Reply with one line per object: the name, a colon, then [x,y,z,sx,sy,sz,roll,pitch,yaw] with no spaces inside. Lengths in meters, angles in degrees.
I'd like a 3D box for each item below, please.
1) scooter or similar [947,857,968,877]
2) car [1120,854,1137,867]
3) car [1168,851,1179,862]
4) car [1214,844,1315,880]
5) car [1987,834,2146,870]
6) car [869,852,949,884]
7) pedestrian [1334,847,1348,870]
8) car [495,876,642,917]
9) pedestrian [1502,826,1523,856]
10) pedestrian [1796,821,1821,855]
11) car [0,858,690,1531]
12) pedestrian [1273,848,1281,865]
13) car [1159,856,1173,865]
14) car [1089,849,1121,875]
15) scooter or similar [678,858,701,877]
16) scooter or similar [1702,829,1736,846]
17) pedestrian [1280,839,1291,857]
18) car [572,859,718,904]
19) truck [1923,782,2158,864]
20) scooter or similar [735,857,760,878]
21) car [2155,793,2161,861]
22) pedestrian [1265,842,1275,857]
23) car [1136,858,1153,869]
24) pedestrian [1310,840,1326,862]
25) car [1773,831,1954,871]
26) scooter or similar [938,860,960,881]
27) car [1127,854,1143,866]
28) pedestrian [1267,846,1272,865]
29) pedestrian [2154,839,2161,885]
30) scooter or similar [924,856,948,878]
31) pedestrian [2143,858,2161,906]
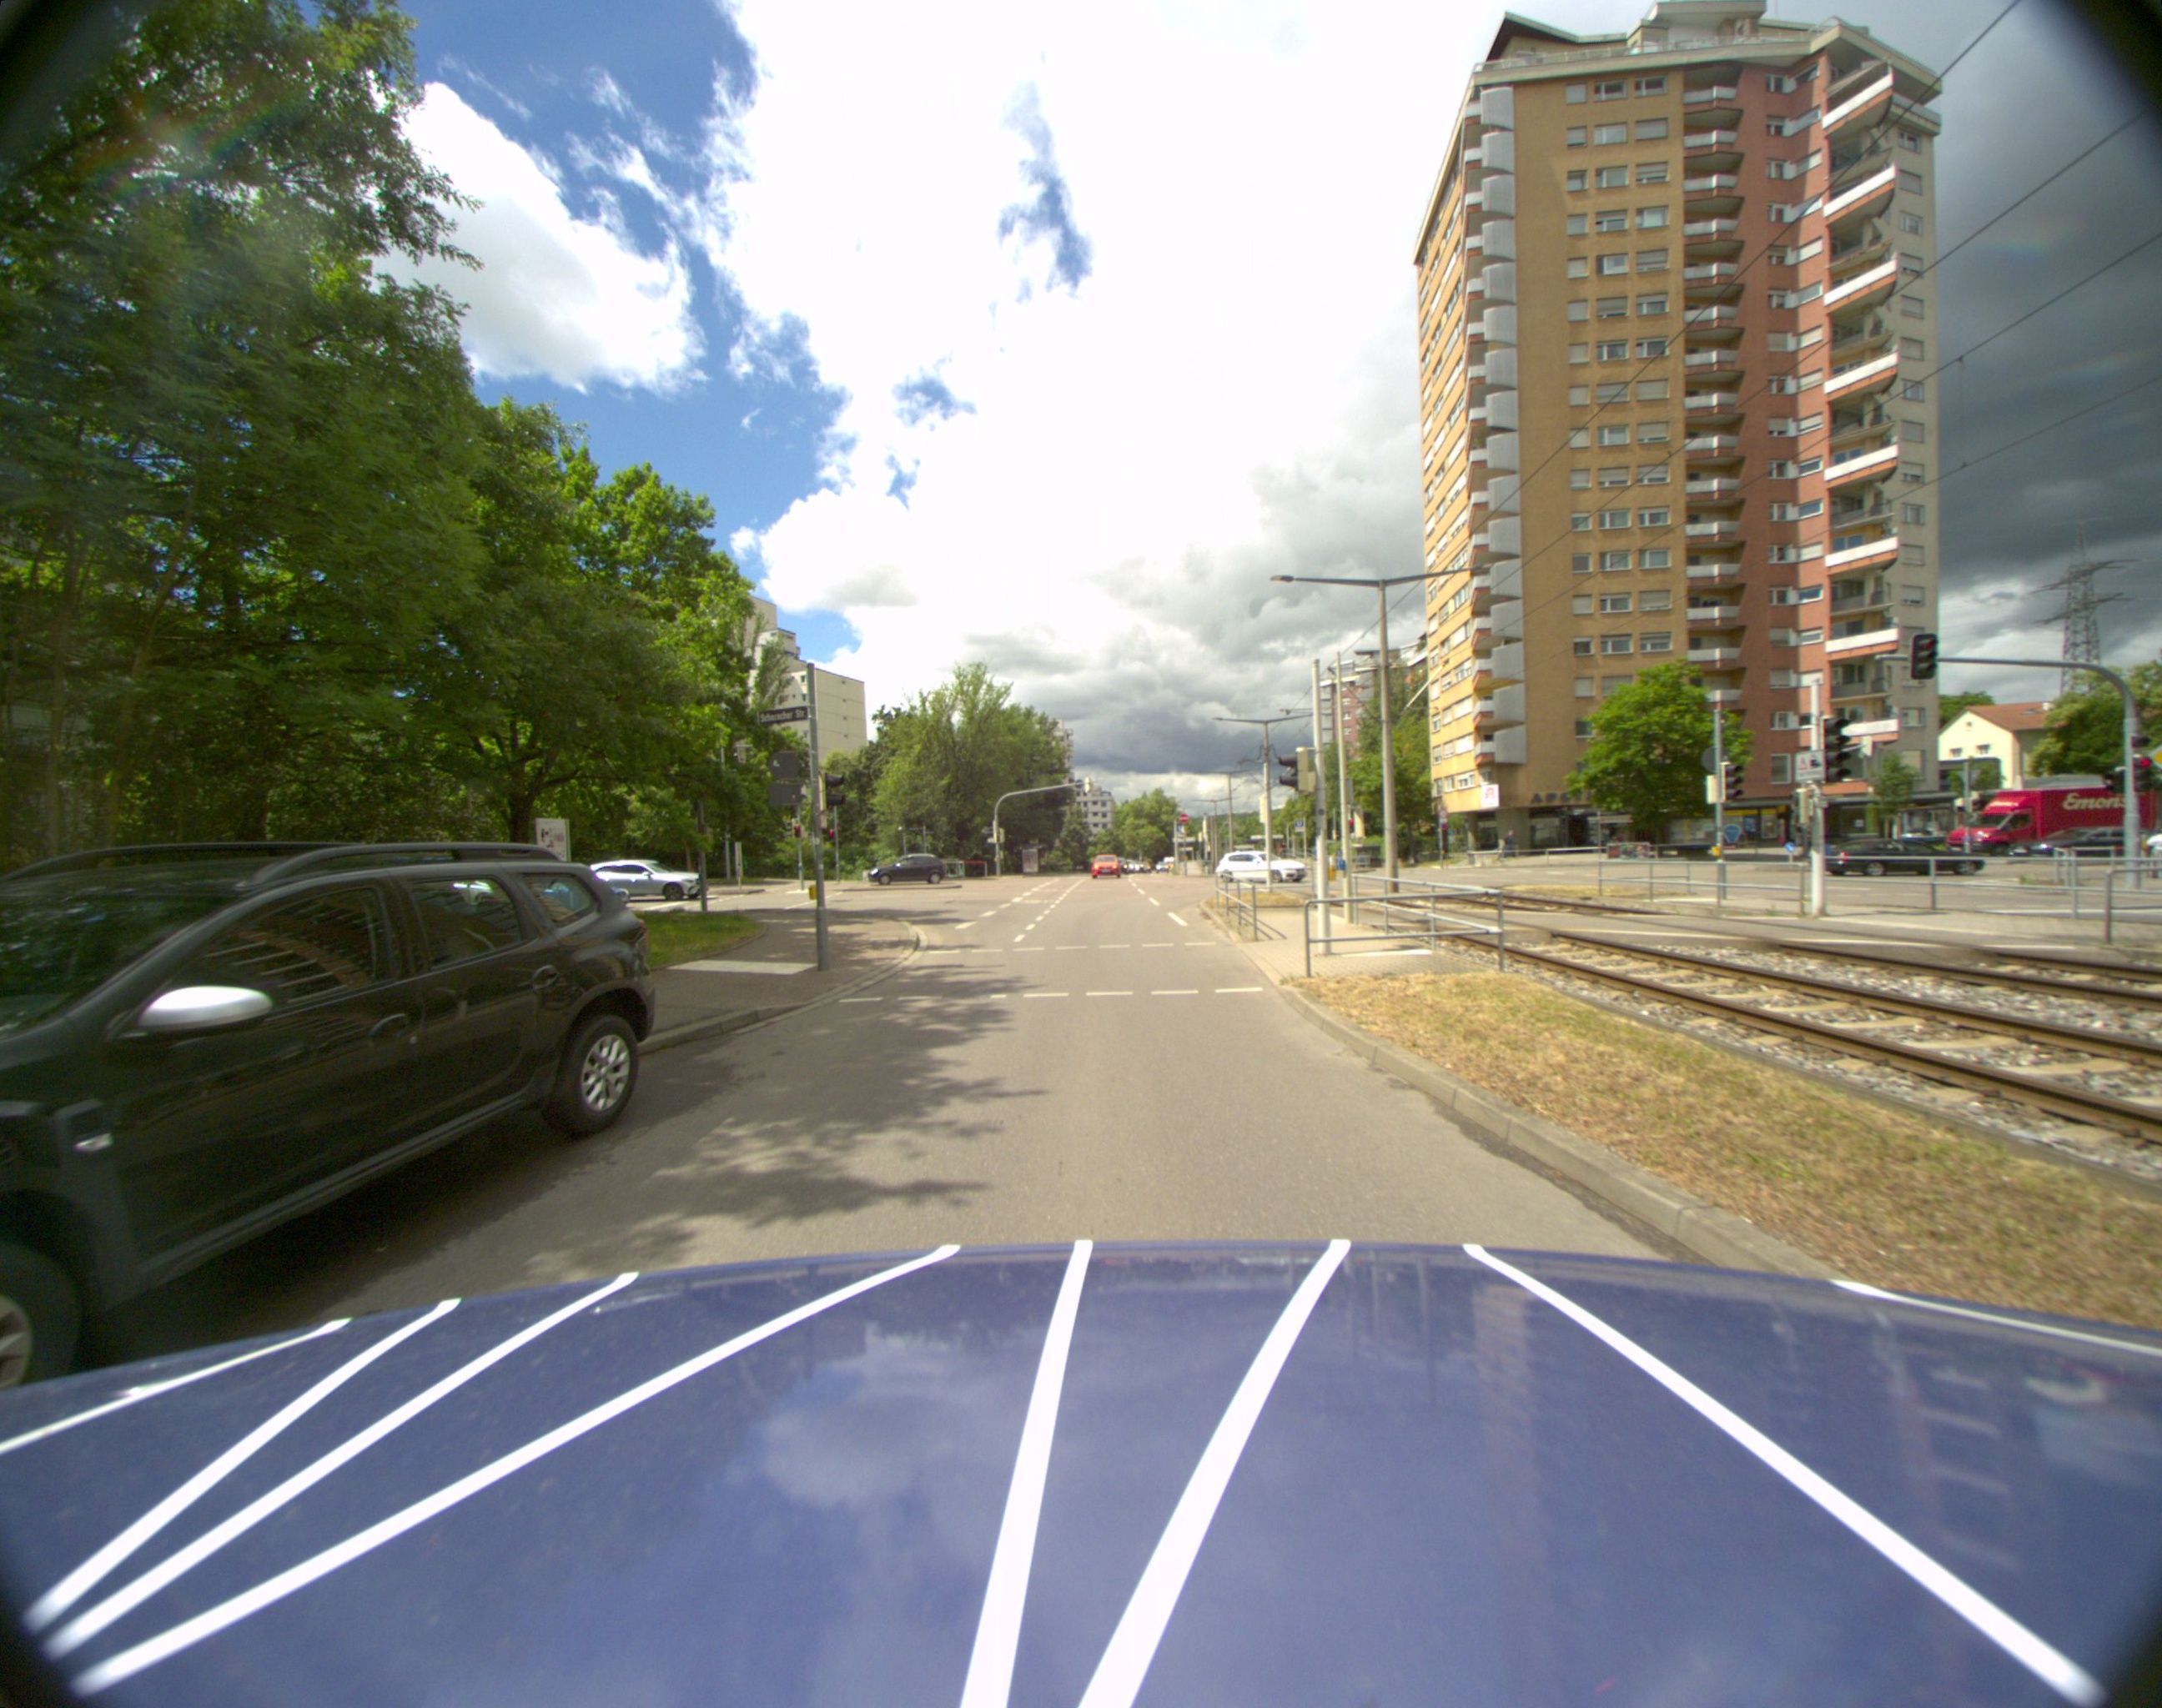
scooter or similar: [-7.349,0.768,45.201,1.170,1.188,0.449,-1,0,9]
car: [4.763,0.647,75.397,1.605,1.207,3.773,-1,0,5]
car: [18.820,0.560,154.667,1.998,2.136,4.000,-1,0,2]
car: [8.347,0.311,34.857,1.798,1.443,4.263,-4,3,-39]
car: [43.671,-0.080,33.793,3.993,1.485,2.002,-1,0,11]
car: [-8.794,0.705,38.844,3.797,1.529,1.680,-1,0,-22]
pedestrian: [17.203,0.313,50.257,0.647,1.504,0.722,-1,0,39]
car: [-18.518,1.522,27.617,3.970,1.218,1.912,-1,3,-2]
pedestrian: [28.227,-0.821,49.732,0.920,1.923,0.854,-1,0,5]
pedestrian: [38.779,-0.859,40.511,0.889,1.801,0.642,-1,0,-22]
car: [-3.638,0.906,3.096,1.648,1.752,4.570,-1,0,1]
pedestrian: [21.355,0.277,82.796,0.770,1.920,0.573,-1,0,4]
car: [12.033,0.921,107.216,1.804,1.207,4.024,-1,0,9]
car: [1.542,0.471,47.434,1.819,1.483,4.000,-2,1,3]
scooter or similar: [-22.628,0.795,43.886,1.113,1.067,0.411,-1,0,9]
scooter or similar: [41.664,-1.056,49.629,1.751,1.087,0.545,-1,0,1]
pedestrian: [20.184,-0.560,74.993,0.865,1.763,0.748,-1,0,5]
car: [-17.422,1.062,30.558,4.654,1.583,1.922,-1,3,-2]
truck: [46.107,-1.400,36.742,7.089,3.653,2.549,-1,0,11]
scooter or similar: [-19.339,0.781,44.068,1.174,1.175,0.523,-1,0,9]
car: [54.394,-1.336,34.798,6.294,3.280,2.002,-1,0,13]
pedestrian: [20.217,-0.450,81.258,0.865,1.597,0.748,-1,0,5]
car: [8.462,1.200,100.865,1.844,1.409,4.003,-1,0,9]
pedestrian: [18.092,-0.235,58.070,0.910,1.588,0.721,-6,0,5]
car: [29.943,-0.088,29.208,4.669,1.390,1.979,-1,-1,4]
scooter or similar: [-8.623,1.068,49.699,1.212,1.284,0.534,-4,-2,-29]
car: [6.002,0.648,84.445,1.605,1.207,3.773,-1,0,7]
pedestrian: [21.707,0.179,87.386,0.532,2.129,0.608,-1,0,9]
pedestrian: [34.417,0.257,23.925,0.571,1.464,0.527,-1,0,31]
scooter or similar: [-8.286,0.737,43.447,1.212,1.228,0.478,-1,0,-23]
pedestrian: [33.724,0.873,23.693,0.517,1.464,0.527,-1,0,31]
